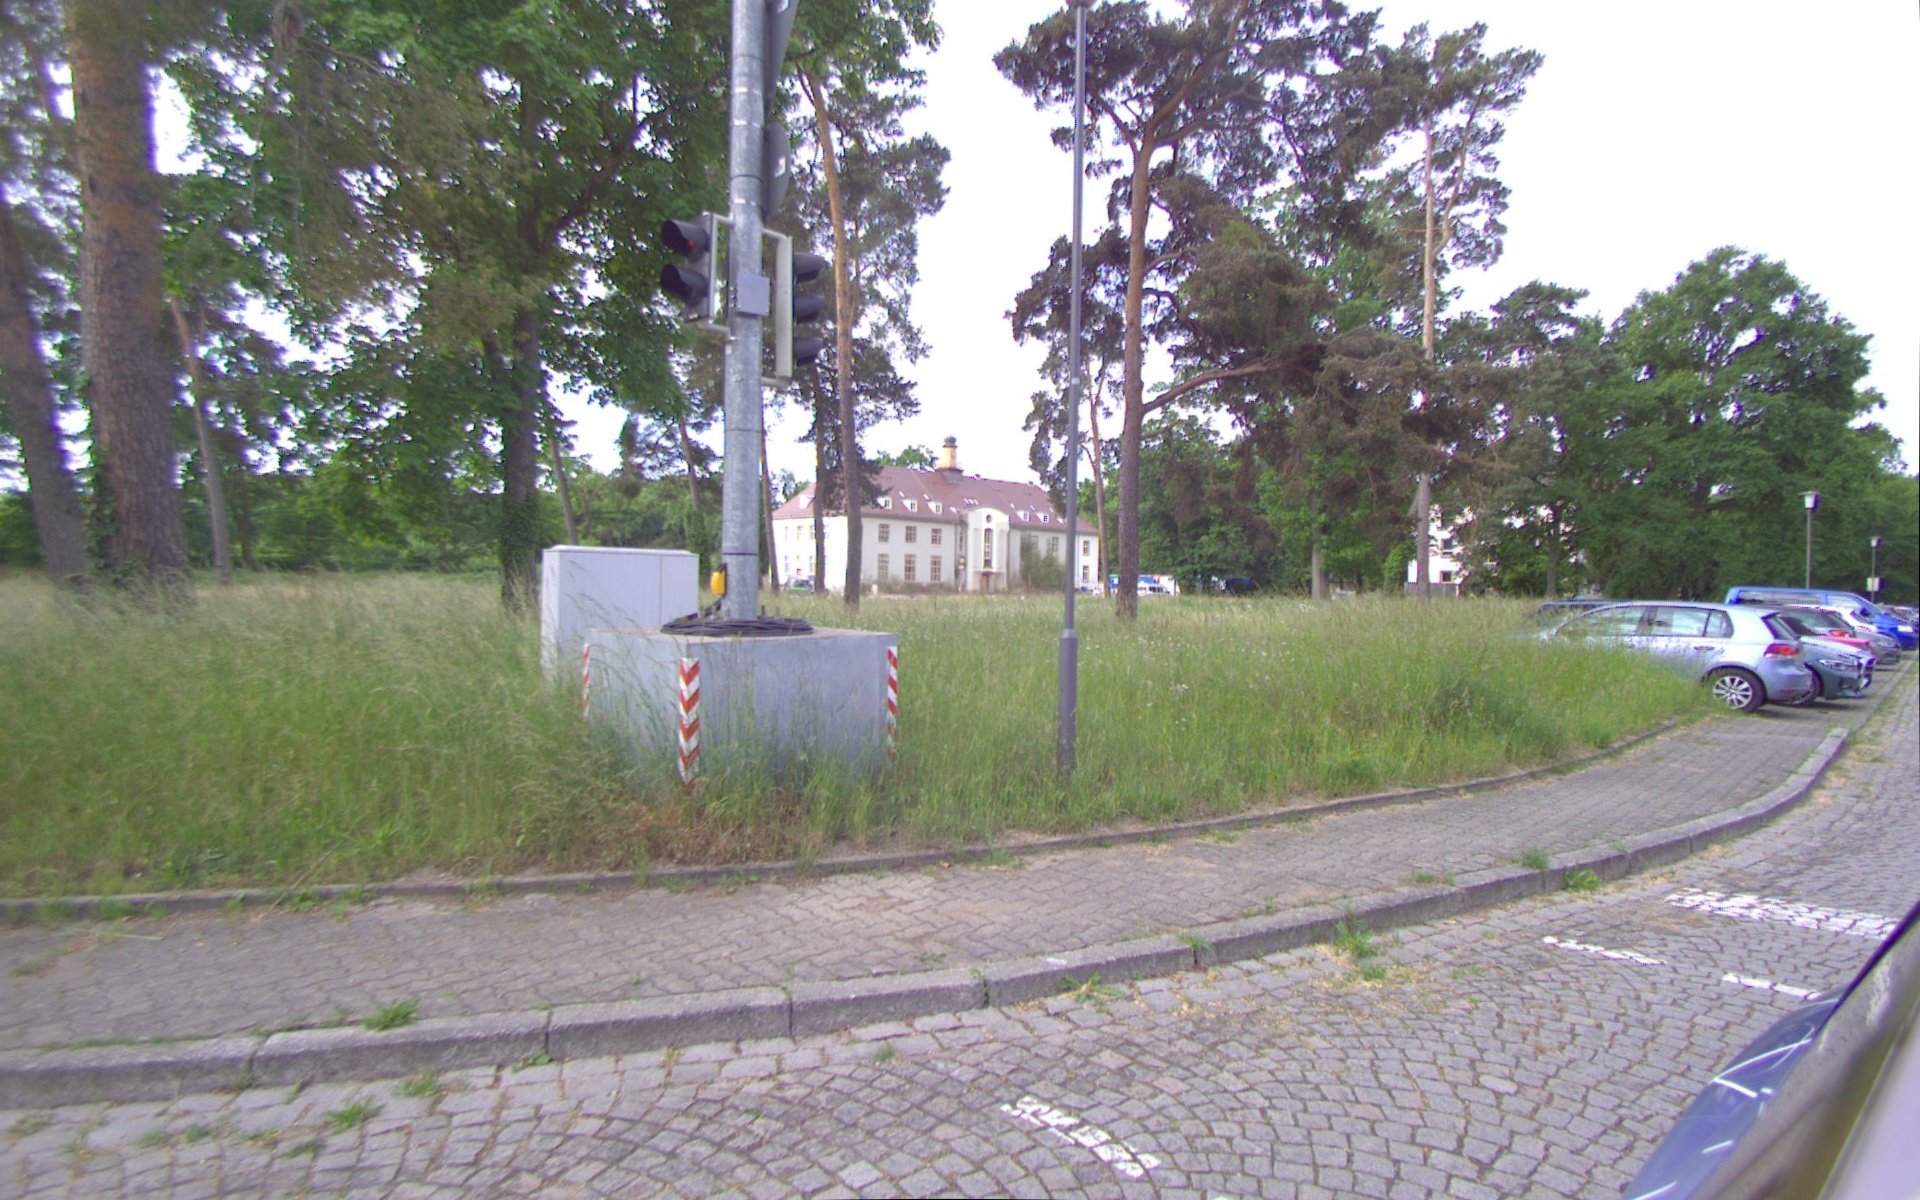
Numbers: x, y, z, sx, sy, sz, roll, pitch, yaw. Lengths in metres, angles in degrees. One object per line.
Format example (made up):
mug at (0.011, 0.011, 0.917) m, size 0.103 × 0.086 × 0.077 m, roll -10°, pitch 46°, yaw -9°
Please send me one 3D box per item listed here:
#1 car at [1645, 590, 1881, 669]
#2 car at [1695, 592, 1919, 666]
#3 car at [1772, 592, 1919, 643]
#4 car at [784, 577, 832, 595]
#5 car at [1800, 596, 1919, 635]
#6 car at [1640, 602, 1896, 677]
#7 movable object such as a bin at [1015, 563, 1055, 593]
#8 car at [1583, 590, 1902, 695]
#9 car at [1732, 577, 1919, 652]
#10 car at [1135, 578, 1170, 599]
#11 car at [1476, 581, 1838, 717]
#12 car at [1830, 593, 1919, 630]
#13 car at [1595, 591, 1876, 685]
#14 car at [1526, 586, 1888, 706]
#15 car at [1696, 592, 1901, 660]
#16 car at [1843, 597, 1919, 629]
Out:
car at (18.568, 0.615, 23.542) m, size 1.572 × 1.535 × 4.048 m, roll 1°, pitch 2°, yaw -41°
car at (20.936, 0.647, 25.082) m, size 1.670 × 1.535 × 4.095 m, roll 1°, pitch 2°, yaw -41°
car at (32.715, 0.617, 37.299) m, size 1.625 × 1.612 × 4.082 m, roll 1°, pitch 2°, yaw -41°
car at (-17.275, -1.626, 114.848) m, size 5.773 × 1.985 × 2.162 m, roll 1°, pitch 1°, yaw 42°
car at (39.801, 0.670, 44.569) m, size 1.697 × 1.462 × 4.081 m, roll 1°, pitch 2°, yaw -42°
car at (16.971, 0.768, 21.411) m, size 1.523 × 1.255 × 4.046 m, roll 1°, pitch 2°, yaw -43°
movable object such as a bin at (9.730, -2.862, 132.496) m, size 2.017 × 3.817 × 5.456 m, roll 0°, pitch 1°, yaw -40°
car at (13.812, 0.656, 18.079) m, size 1.687 × 1.492 × 4.245 m, roll 1°, pitch 2°, yaw -41°
car at (26.683, 0.377, 30.941) m, size 1.879 × 2.030 × 4.599 m, roll 0°, pitch 3°, yaw -42°
car at (22.113, -1.286, 116.288) m, size 4.374 × 2.394 × 1.859 m, roll -1°, pitch 1°, yaw -44°
car at (9.871, 0.581, 14.556) m, size 1.670 × 1.446 × 4.004 m, roll 0°, pitch 4°, yaw -45°
car at (47.205, 0.571, 51.553) m, size 1.694 × 1.716 × 4.087 m, roll 1°, pitch 2°, yaw -37°
car at (15.265, 0.661, 20.087) m, size 1.688 × 1.500 × 4.179 m, roll 1°, pitch 2°, yaw -43°
car at (11.822, 0.625, 16.254) m, size 1.637 × 1.400 × 4.432 m, roll 0°, pitch 4°, yaw -45°
car at (22.645, 0.648, 27.456) m, size 1.572 × 1.535 × 4.048 m, roll 1°, pitch 2°, yaw -41°
car at (50.616, 0.710, 54.656) m, size 1.694 × 1.552 × 4.097 m, roll 1°, pitch 2°, yaw -37°
